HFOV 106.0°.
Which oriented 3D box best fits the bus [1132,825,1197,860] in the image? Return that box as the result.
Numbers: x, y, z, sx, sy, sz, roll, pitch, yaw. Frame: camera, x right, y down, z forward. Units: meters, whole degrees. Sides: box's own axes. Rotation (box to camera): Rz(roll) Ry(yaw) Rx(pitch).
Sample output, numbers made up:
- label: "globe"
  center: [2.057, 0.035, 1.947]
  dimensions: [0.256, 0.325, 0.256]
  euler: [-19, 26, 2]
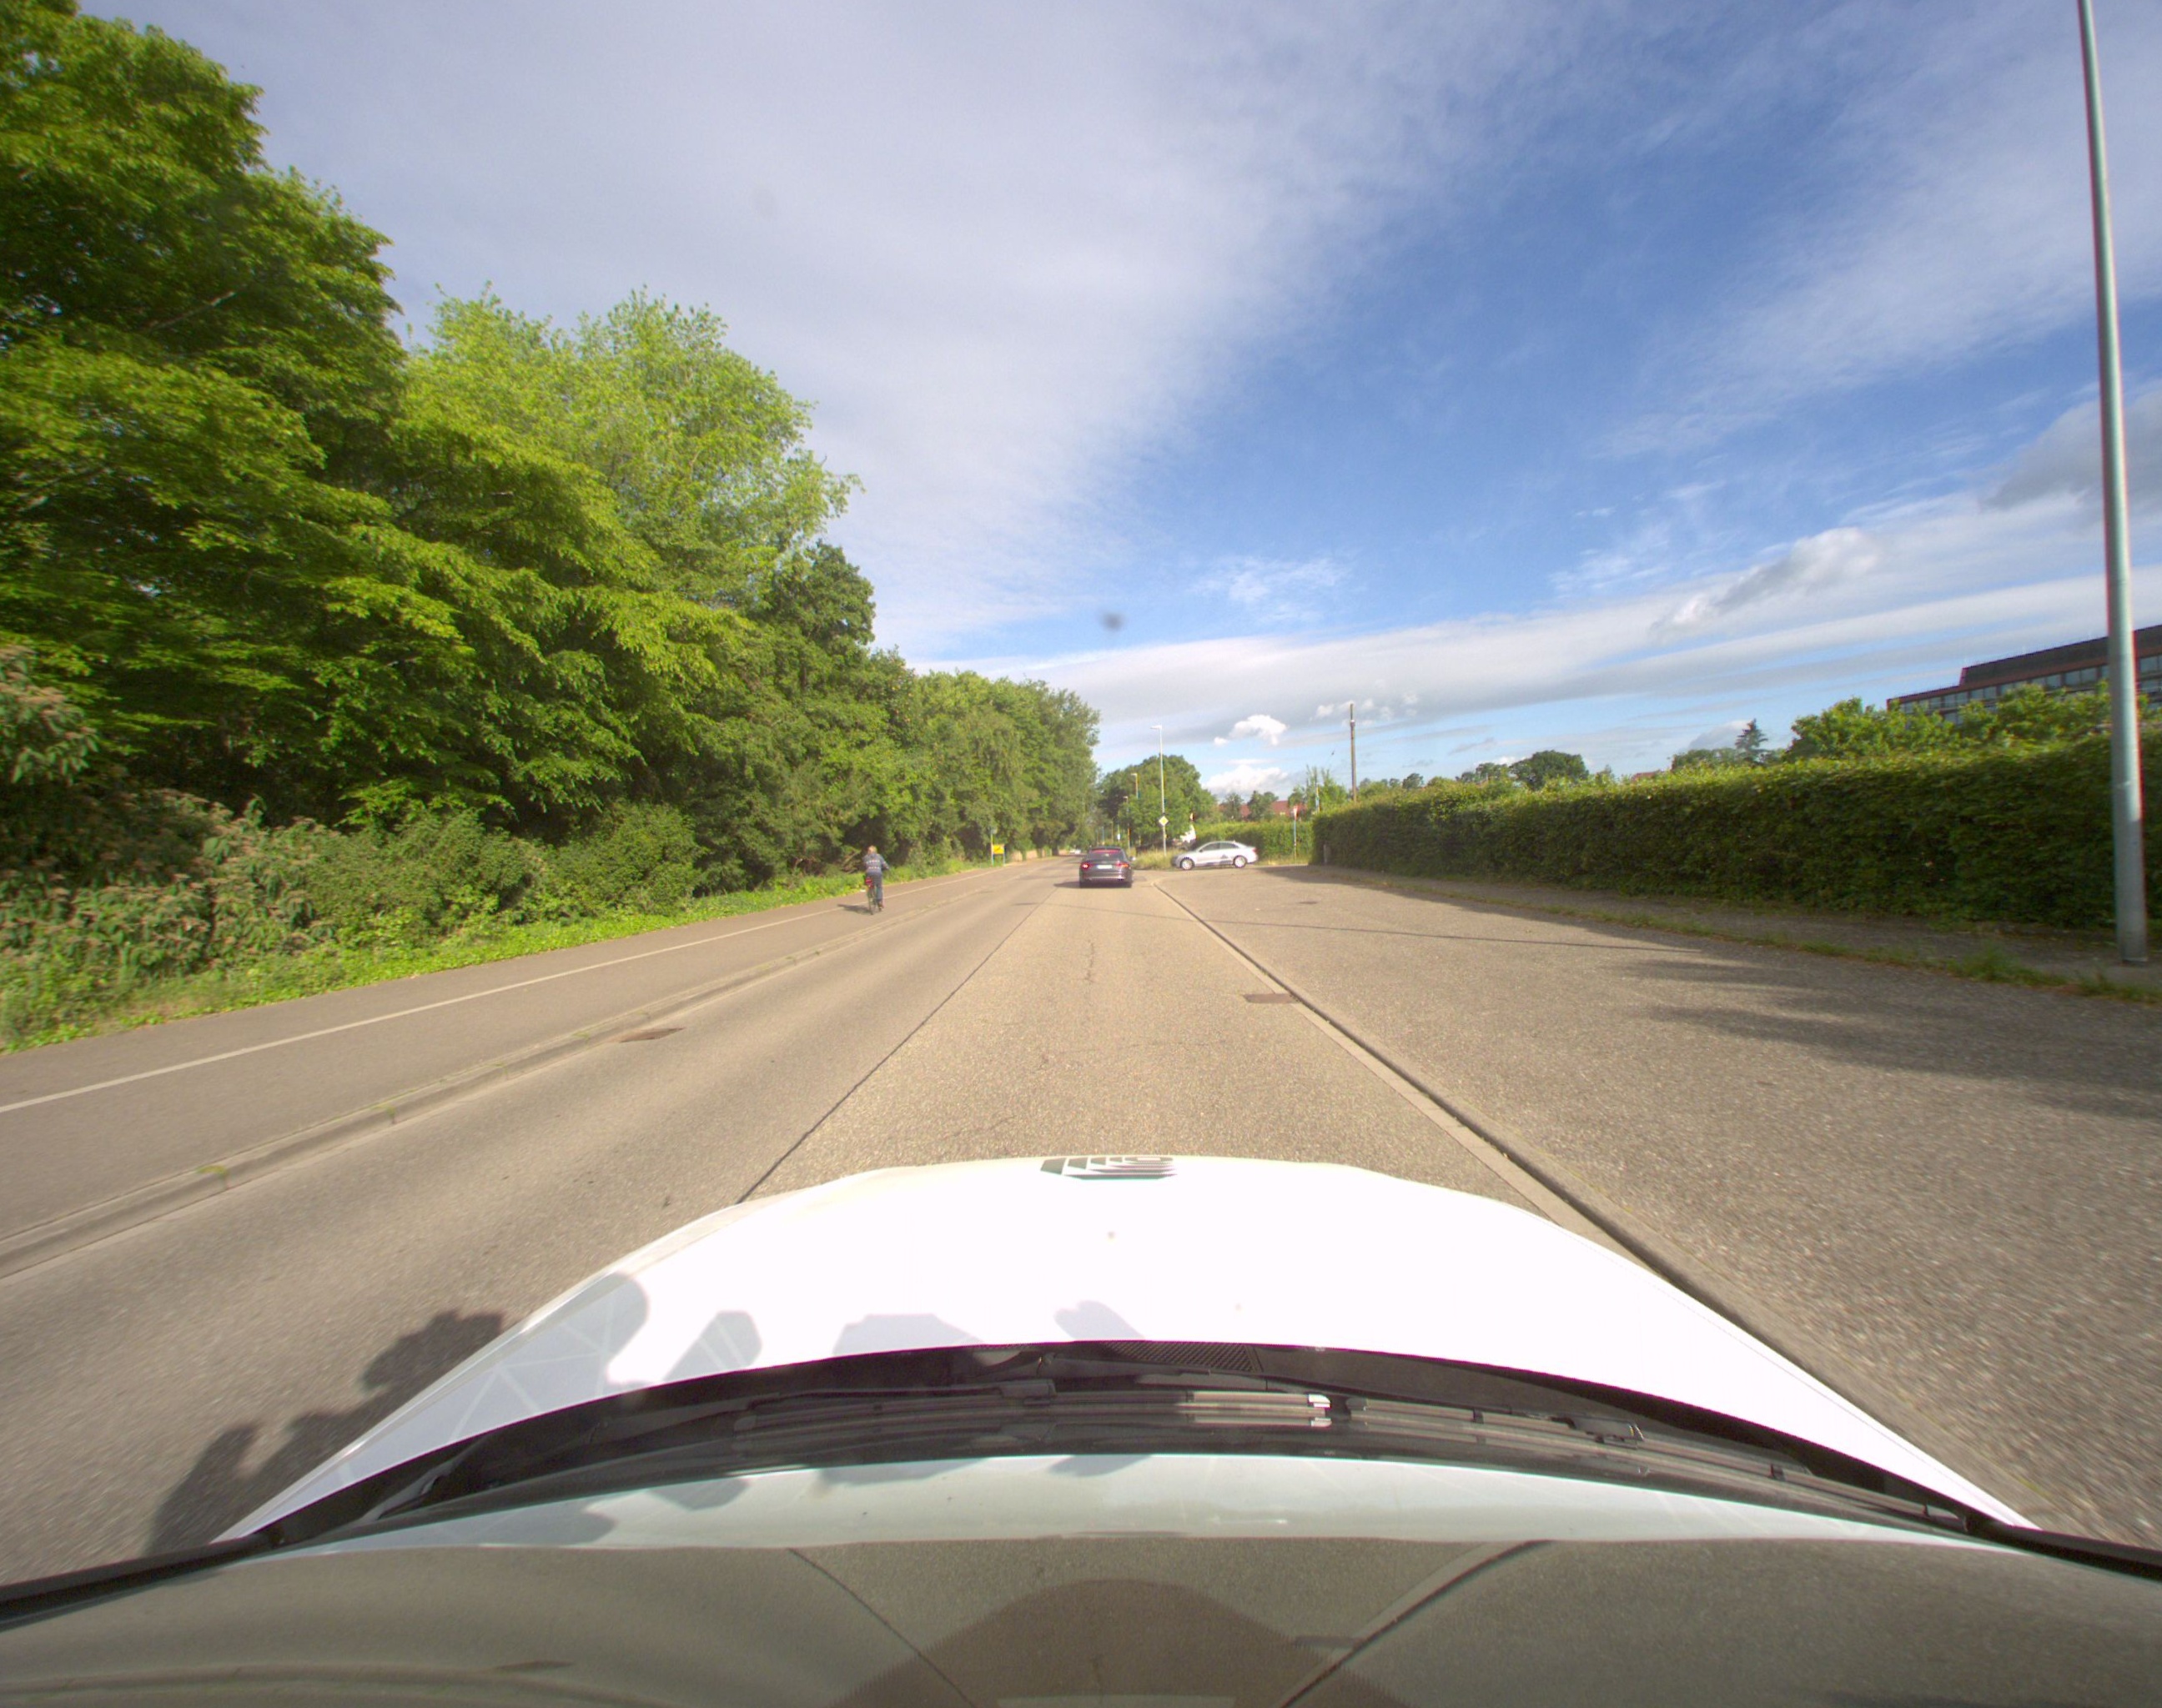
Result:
- label: "bus"
  center: [7.279, -1.005, 71.211]
  dimensions: [5.351, 2.746, 2.067]
  euler: [-3, 1, -2]

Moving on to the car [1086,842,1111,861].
- label: "car"
  center: [1.358, -0.178, 64.679]
  dimensions: [1.880, 1.372, 4.054]
  euler: [-2, 0, 0]

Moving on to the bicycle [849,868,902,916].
- label: "bicycle"
  center: [-5.156, 0.921, 20.583]
  dimensions: [0.660, 1.097, 2.350]
  euler: [0, 0, 2]

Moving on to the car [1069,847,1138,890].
- label: "car"
  center: [0.906, 0.468, 29.541]
  dimensions: [1.955, 1.434, 4.346]
  euler: [-1, 0, 8]

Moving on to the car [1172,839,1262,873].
- label: "car"
  center: [6.844, 0.080, 41.316]
  dimensions: [4.338, 1.443, 1.937]
  euler: [-3, -1, 7]

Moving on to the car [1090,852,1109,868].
- label: "car"
  center: [1.909, 0.610, 84.507]
  dimensions: [1.880, 1.465, 4.054]
  euler: [-2, 0, 0]

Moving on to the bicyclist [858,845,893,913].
- label: "bicyclist"
  center: [-5.173, 0.621, 20.566]
  dimensions: [0.606, 1.676, 0.884]
  euler: [-1, 0, 2]
